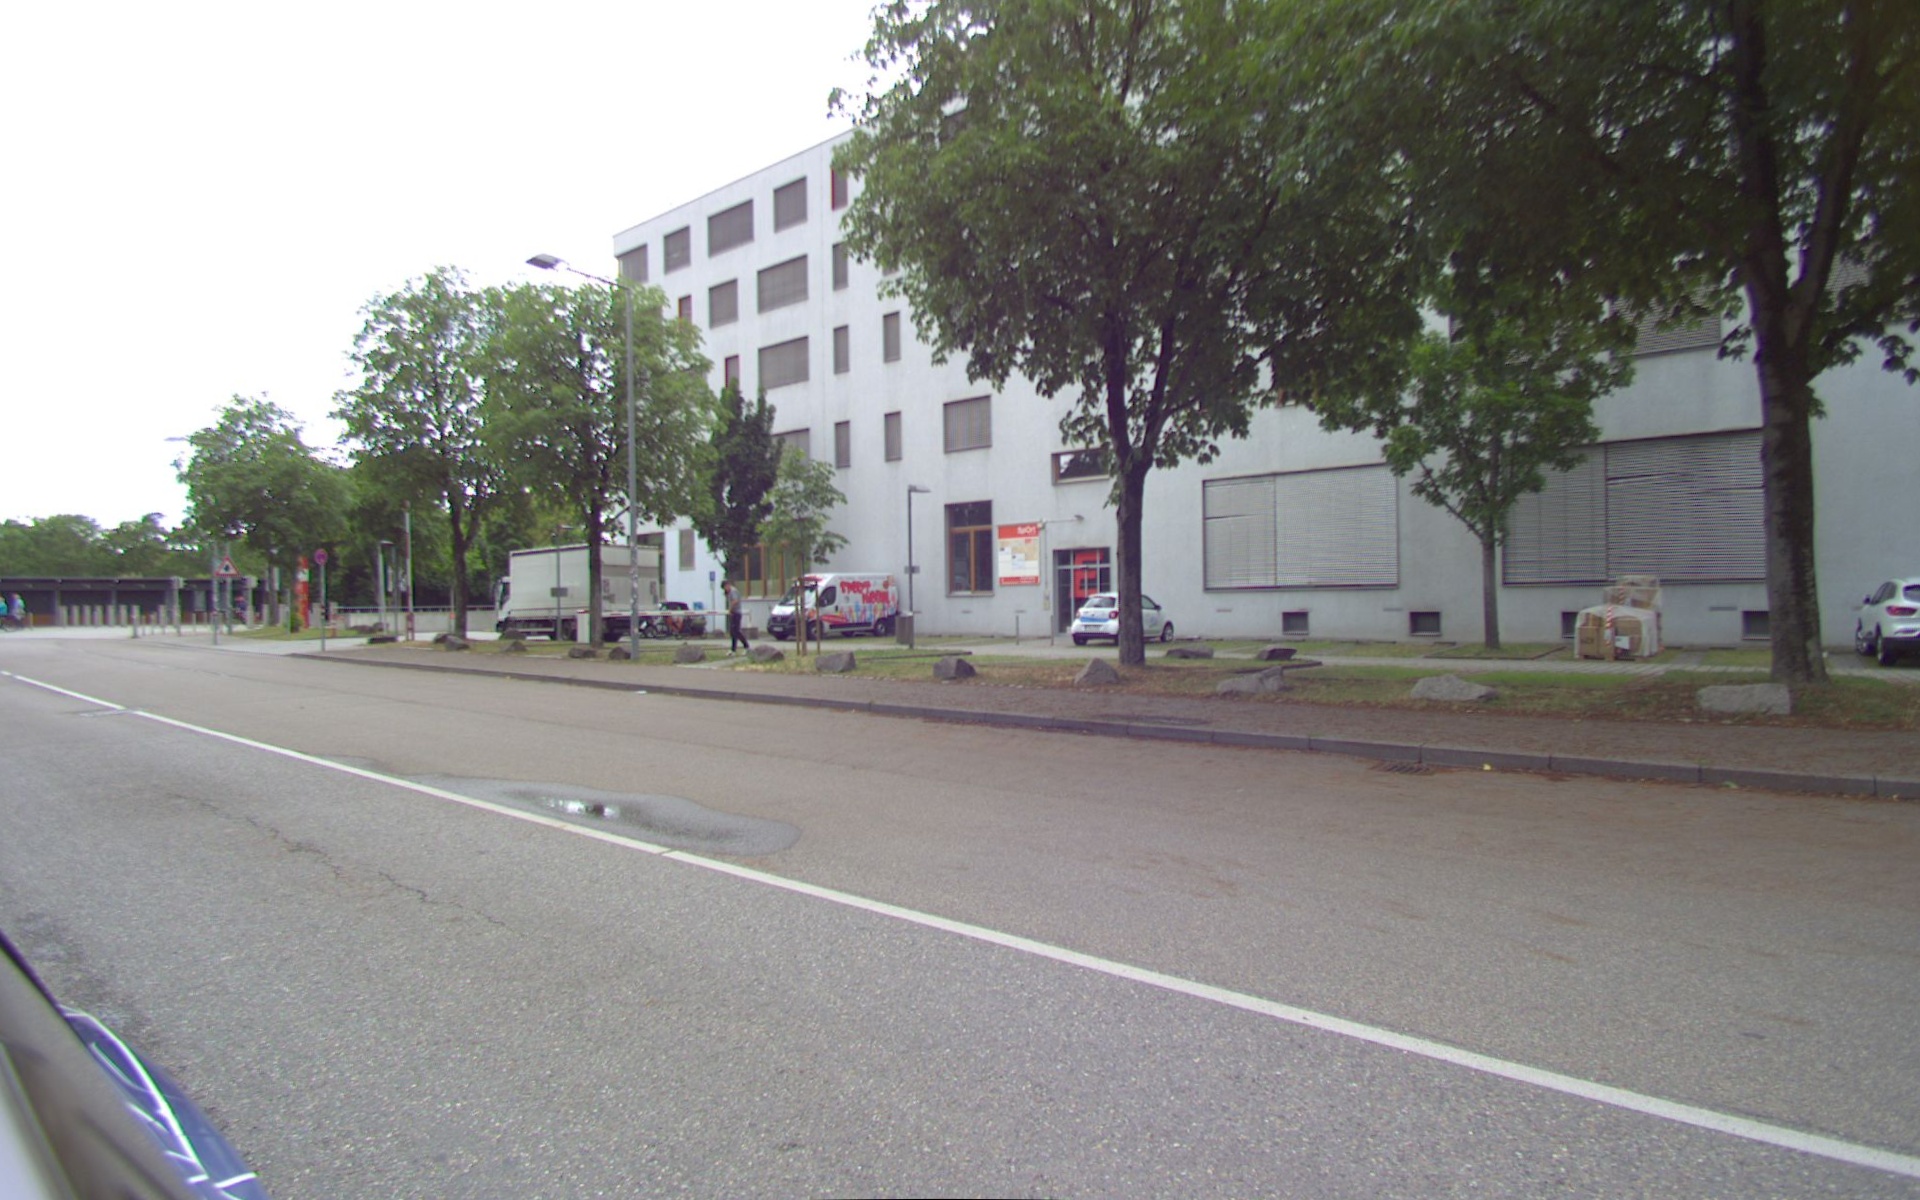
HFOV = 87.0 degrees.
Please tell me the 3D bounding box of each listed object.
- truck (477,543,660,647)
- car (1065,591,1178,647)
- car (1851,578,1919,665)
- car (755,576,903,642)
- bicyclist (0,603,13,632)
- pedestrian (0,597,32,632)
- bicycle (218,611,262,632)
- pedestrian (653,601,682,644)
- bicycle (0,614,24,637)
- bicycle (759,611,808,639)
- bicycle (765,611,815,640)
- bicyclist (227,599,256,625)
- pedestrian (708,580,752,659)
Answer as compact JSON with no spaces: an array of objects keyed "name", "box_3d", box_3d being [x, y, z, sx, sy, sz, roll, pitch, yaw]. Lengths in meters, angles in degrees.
[{"name":"truck","box_3d":[-15.178,-0.215,38.873,8.354,3.627,2.651,0,1,38]},{"name":"car","box_3d":[4.812,0.508,29.900,1.691,1.511,3.575,0,1,40]},{"name":"car","box_3d":[17.945,0.335,18.657,1.896,1.467,3.962,0,1,36]},{"name":"car","box_3d":[-4.825,0.269,38.078,2.078,2.296,5.569,0,1,40]},{"name":"bicyclist","box_3d":[-48.842,0.897,51.259,0.742,1.441,1.145,0,1,37]},{"name":"pedestrian","box_3d":[-51.119,0.760,54.807,0.928,1.847,1.184,1,2,44]},{"name":"bicycle","box_3d":[-43.041,1.285,60.524,0.775,1.152,2.030,1,2,30]},{"name":"pedestrian","box_3d":[-11.452,0.873,39.612,0.885,1.618,0.672,0,1,34]},{"name":"bicycle","box_3d":[-48.925,1.306,51.155,0.747,1.131,2.230,0,1,37]},{"name":"bicycle","box_3d":[-7.234,1.005,41.447,0.614,1.078,2.002,0,1,44]},{"name":"bicycle","box_3d":[-6.857,1.012,40.889,0.614,1.078,2.002,0,1,44]},{"name":"bicyclist","box_3d":[-43.001,0.684,60.573,0.924,1.507,1.090,1,2,31]},{"name":"pedestrian","box_3d":[-4.989,0.411,22.031,0.833,1.684,0.788,-1,1,-6]}]
